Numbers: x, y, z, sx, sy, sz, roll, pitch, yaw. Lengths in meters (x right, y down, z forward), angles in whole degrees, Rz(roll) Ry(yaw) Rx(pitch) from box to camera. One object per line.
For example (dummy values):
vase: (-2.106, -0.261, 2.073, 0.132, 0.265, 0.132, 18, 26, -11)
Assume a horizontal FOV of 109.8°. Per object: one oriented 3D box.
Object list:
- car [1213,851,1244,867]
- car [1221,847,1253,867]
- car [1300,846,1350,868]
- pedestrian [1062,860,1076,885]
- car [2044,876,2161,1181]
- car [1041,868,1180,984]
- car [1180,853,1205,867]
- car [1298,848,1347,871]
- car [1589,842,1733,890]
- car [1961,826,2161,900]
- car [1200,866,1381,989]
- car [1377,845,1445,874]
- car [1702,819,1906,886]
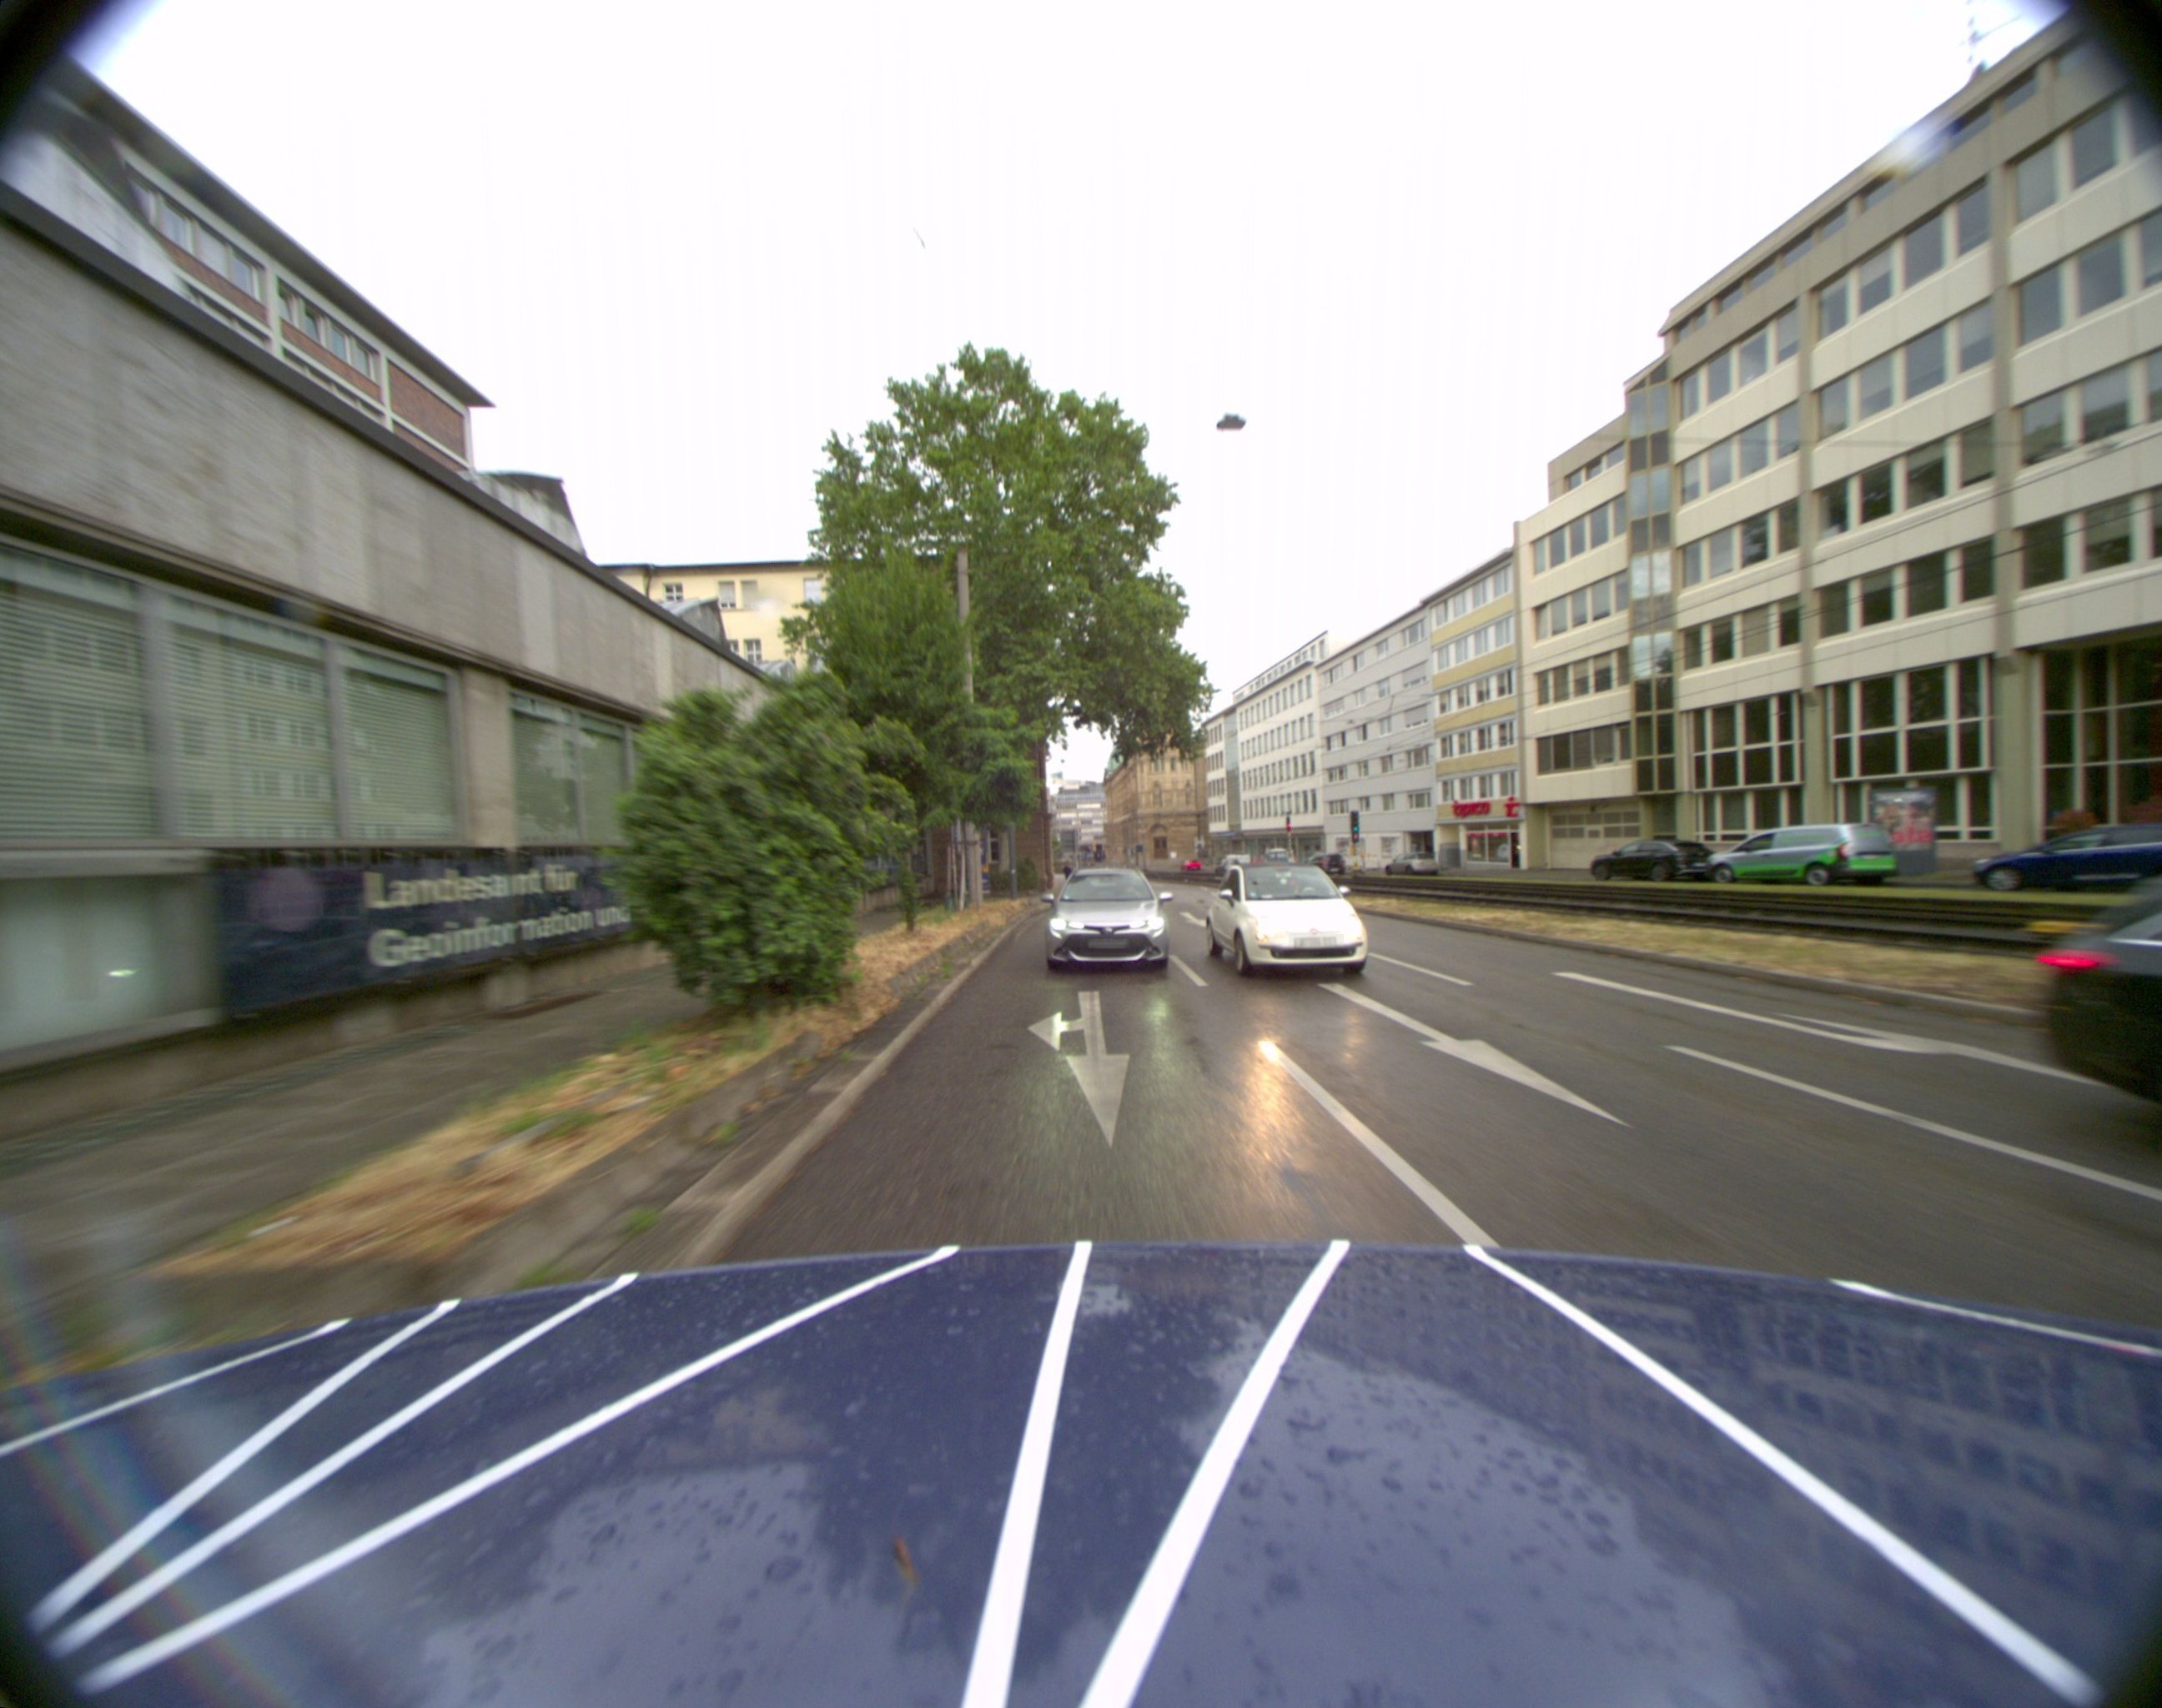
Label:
car: (13.555, 0.505, 70.125, 1.632, 1.349, 3.869, -3, 0, -7)
car: (16.188, 0.289, 79.045, 1.890, 1.924, 4.475, -4, 0, -7)
car: (18.097, 0.229, 56.546, 1.890, 1.505, 4.075, -4, 0, -7)
pedestrian: (-0.818, 1.280, 52.806, 0.719, 1.629, 0.760, -4, 1, 9)
car: (6.042, 0.831, 1.833, 1.800, 1.434, 4.475, -1, 0, 1)
car: (0.398, 0.985, 12.153, 1.811, 1.426, 4.297, -1, 0, 0)
car: (14.363, 0.788, 98.197, 1.890, 1.615, 4.475, -4, 0, -7)
car: (15.960, 0.358, 50.420, 1.632, 1.349, 3.869, -3, 0, -7)
car: (21.109, 0.408, 27.883, 1.801, 1.505, 4.075, -4, 0, -7)
car: (22.116, 0.161, 16.132, 1.801, 1.468, 4.215, -1, 0, -6)
car: (2.820, 0.922, 10.965, 1.654, 1.426, 3.440, -1, 0, 0)
car: (19.472, 0.312, 45.011, 1.801, 1.505, 4.075, -4, 0, -7)
car: (21.547, -0.039, 22.919, 1.801, 1.736, 4.214, -4, 0, -8)
